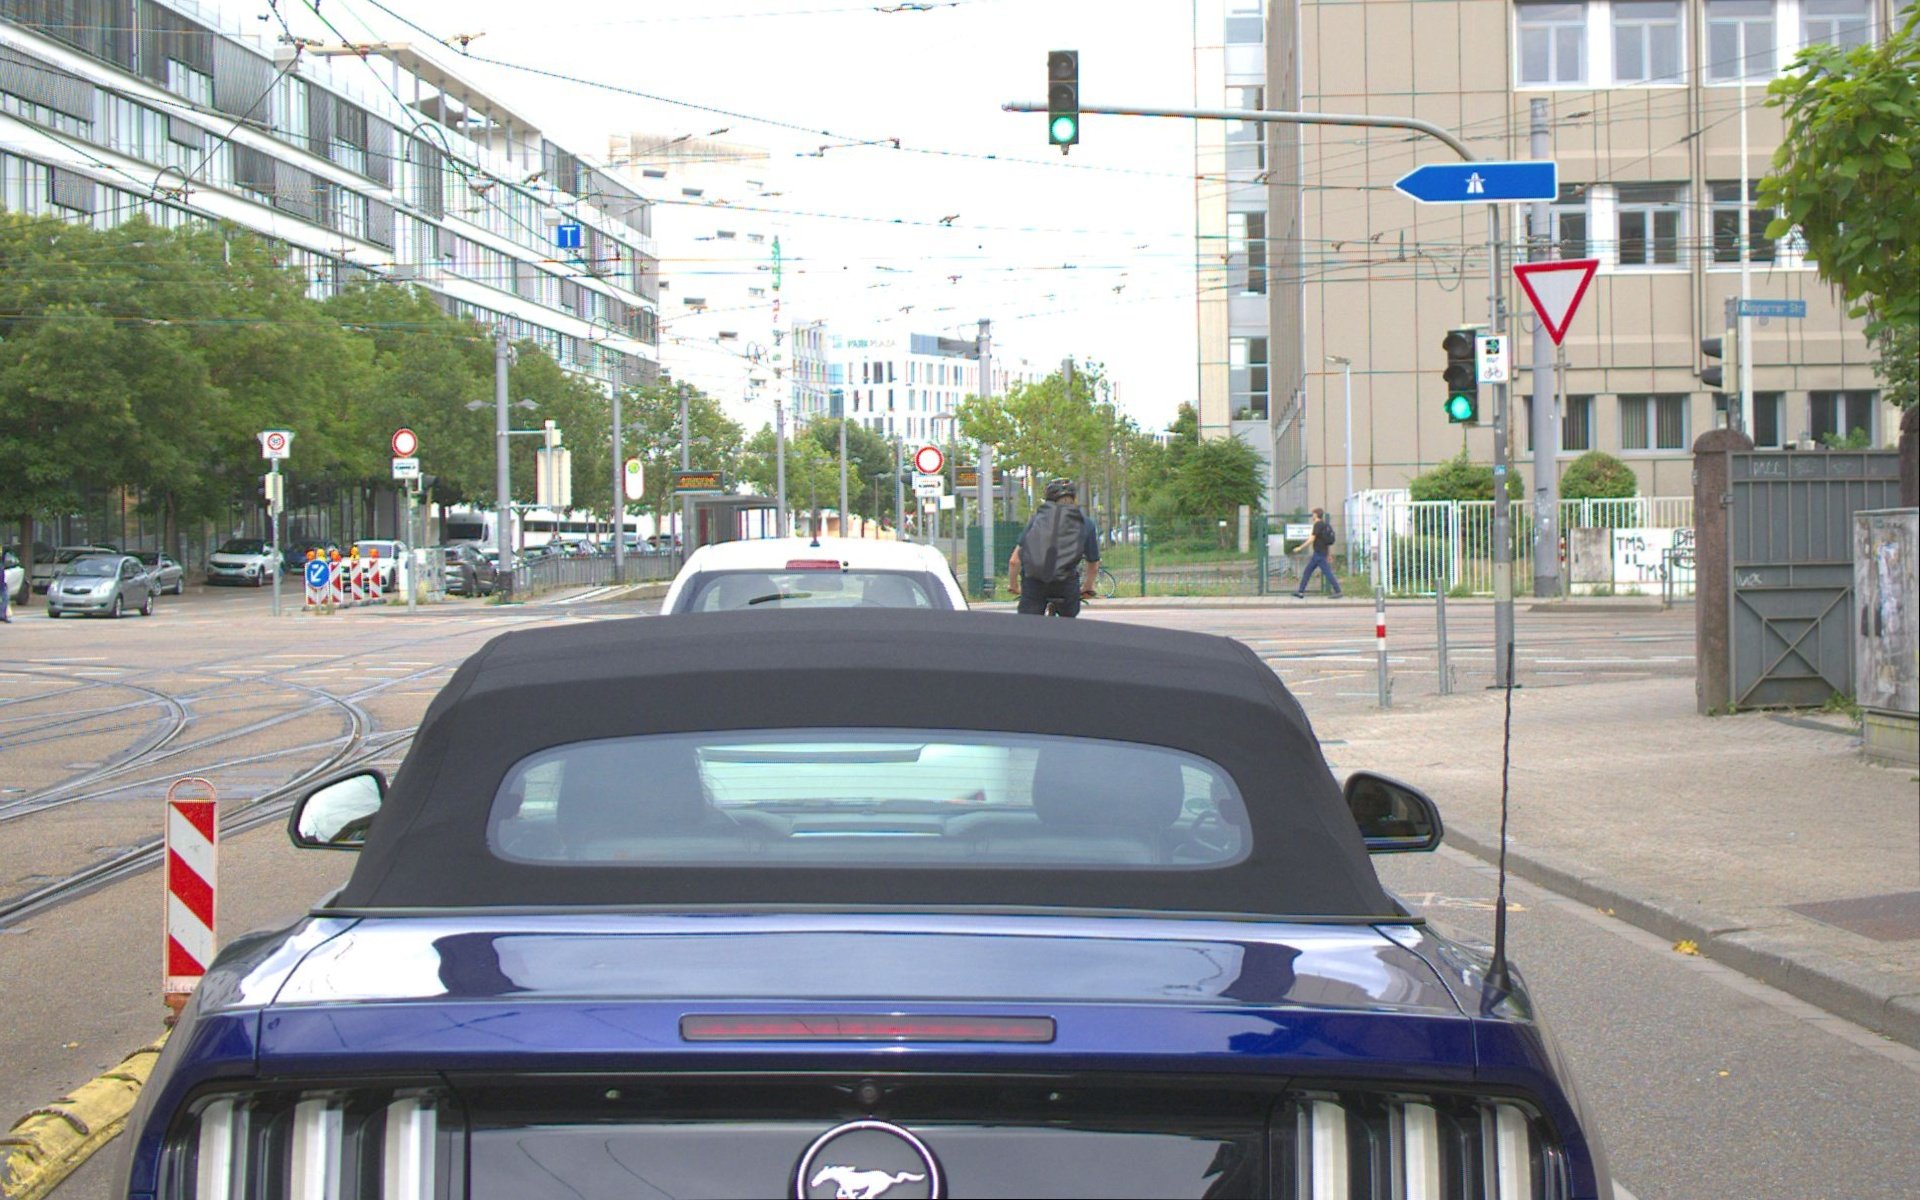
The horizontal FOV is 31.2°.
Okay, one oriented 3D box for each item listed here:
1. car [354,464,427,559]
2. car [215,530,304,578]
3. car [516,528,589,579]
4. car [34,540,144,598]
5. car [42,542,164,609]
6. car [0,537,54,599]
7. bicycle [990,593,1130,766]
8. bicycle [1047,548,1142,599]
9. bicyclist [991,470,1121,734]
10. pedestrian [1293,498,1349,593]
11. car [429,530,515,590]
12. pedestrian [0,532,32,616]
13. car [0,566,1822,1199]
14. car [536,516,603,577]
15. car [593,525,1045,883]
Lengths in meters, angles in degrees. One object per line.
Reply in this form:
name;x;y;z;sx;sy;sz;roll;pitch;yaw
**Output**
car;-22.388;-3.476;135.344;1.986;3.624;4.512;1;1;1
car;-23.677;-1.577;116.354;1.986;1.551;4.512;1;1;1
car;-13.099;-1.520;110.793;1.868;1.600;4.213;-1;1;-1
car;-24.851;-0.903;98.165;1.830;1.551;4.216;1;1;3
car;-20.683;-0.608;83.111;1.668;1.501;4.234;1;1;3
car;-25.551;-0.870;90.890;1.830;1.551;4.216;1;1;3
bicycle;0.667;0.522;23.713;0.800;1.082;2.132;-1;1;-2
bicycle;2.834;-0.562;72.732;0.632;0.977;2.157;-2;-1;-42
bicyclist;0.659;0.003;23.930;0.796;1.779;1.233;-1;1;-2
pedestrian;7.304;-1.099;69.655;1.086;1.891;0.902;-1;1;5
car;-13.776;-1.141;97.261;1.879;1.623;4.087;-1;1;-1
pedestrian;-21.440;-0.588;76.940;0.989;1.849;0.901;-1;1;7
car;-0.138;0.683;5.419;1.876;1.399;4.282;1;1;0
car;-13.143;-1.809;115.957;1.785;1.980;4.121;-1;1;-1
car;-0.745;0.382;16.194;1.835;1.434;4.188;-1;1;-5
